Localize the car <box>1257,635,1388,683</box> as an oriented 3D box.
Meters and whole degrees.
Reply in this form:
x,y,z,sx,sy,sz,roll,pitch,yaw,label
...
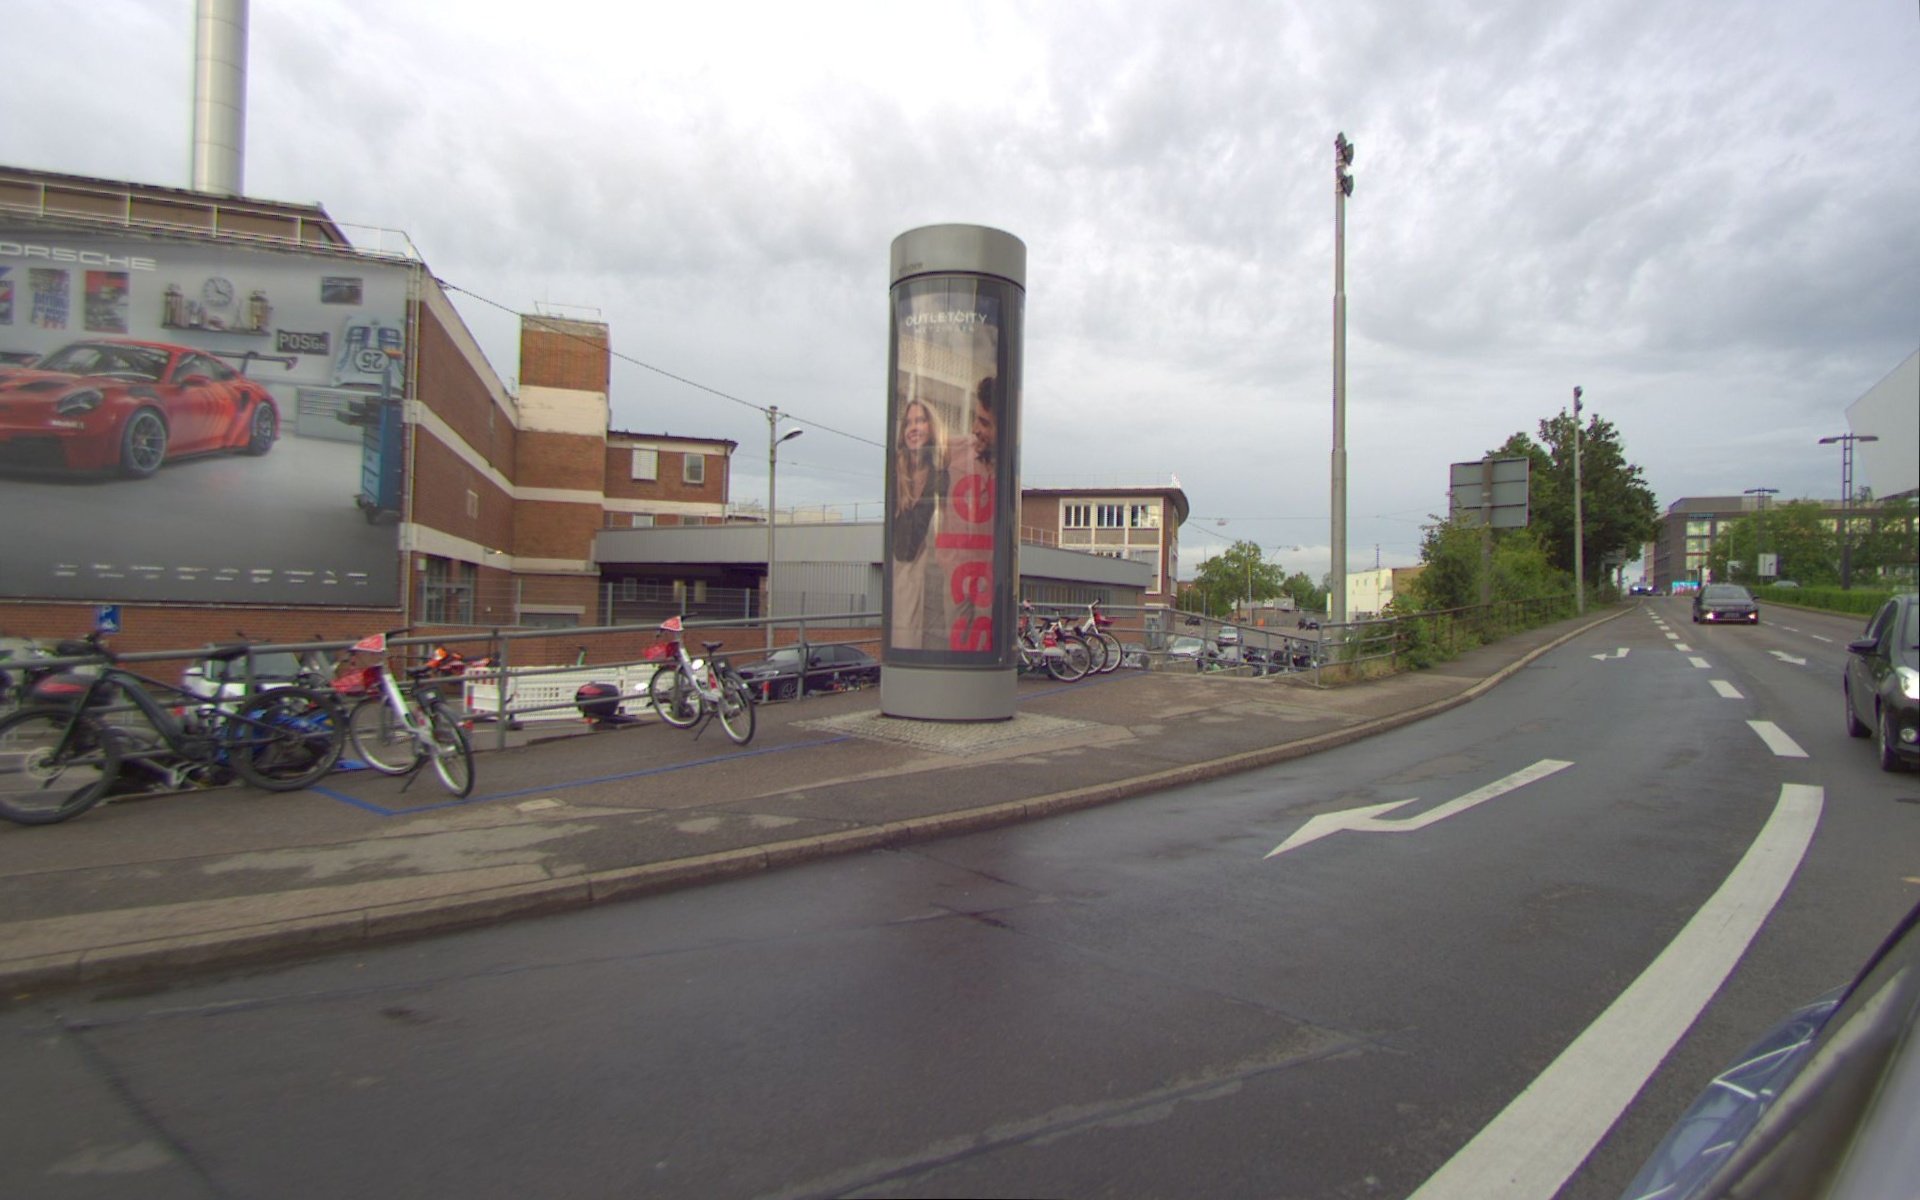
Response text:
x,y,z,sx,sy,sz,roll,pitch,yaw,label
12.574,2.012,35.300,1.690,1.444,3.995,1,-1,-39,car

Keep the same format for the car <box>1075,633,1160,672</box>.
x,y,z,sx,sy,sz,roll,pitch,yaw,label
6.571,2.137,41.909,1.711,1.422,4.216,-1,-1,38,car

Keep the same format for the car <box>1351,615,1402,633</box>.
x,y,z,sx,sy,sz,roll,pitch,yaw,label
35.384,2.028,86.080,3.952,1.444,1.708,0,-1,22,car

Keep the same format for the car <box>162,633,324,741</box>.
x,y,z,sx,sy,sz,roll,pitch,yaw,label
-12.033,1.344,16.889,3.987,1.508,1.543,-1,-1,45,car

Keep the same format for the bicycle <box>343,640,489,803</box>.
x,y,z,sx,sy,sz,roll,pitch,yaw,label
-3.956,0.815,7.298,1.740,0.973,0.415,0,1,44,bicycle

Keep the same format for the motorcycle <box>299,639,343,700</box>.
x,y,z,sx,sy,sz,roll,pitch,yaw,label
-13.464,1.431,21.297,0.574,1.166,1.719,-2,0,-39,motorcycle

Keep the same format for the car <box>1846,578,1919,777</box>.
x,y,z,sx,sy,sz,roll,pitch,yaw,label
9.173,0.563,8.940,1.685,1.526,3.958,-1,1,37,car

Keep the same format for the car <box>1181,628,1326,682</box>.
x,y,z,sx,sy,sz,roll,pitch,yaw,label
8.810,1.595,30.648,1.690,1.444,3.995,1,-1,-39,car

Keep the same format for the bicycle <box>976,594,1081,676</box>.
x,y,z,sx,sy,sz,roll,pitch,yaw,label
0.952,0.477,14.115,1.436,1.087,0.443,1,2,5,bicycle

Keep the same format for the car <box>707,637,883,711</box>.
x,y,z,sx,sy,sz,roll,pitch,yaw,label
-4.082,1.787,25.669,1.877,1.571,4.451,0,-1,35,car

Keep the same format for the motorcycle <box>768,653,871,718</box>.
x,y,z,sx,sy,sz,roll,pitch,yaw,label
-2.180,1.309,15.674,1.601,0.933,0.477,-1,0,29,motorcycle

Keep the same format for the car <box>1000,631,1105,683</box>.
x,y,z,sx,sy,sz,roll,pitch,yaw,label
3.459,2.025,37.056,1.774,1.688,4.443,-1,-1,37,car

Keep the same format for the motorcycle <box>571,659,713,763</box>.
x,y,z,sx,sy,sz,roll,pitch,yaw,label
-3.329,1.134,10.706,0.400,0.901,1.523,0,1,33,motorcycle

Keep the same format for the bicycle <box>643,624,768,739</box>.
x,y,z,sx,sy,sz,roll,pitch,yaw,label
-2.387,0.716,9.374,0.414,0.933,1.613,0,0,-42,bicycle

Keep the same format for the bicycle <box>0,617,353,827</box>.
x,y,z,sx,sy,sz,roll,pitch,yaw,label
-5.321,0.753,6.891,0.399,1.189,1.983,0,1,44,bicycle

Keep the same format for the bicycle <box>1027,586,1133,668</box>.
x,y,z,sx,sy,sz,roll,pitch,yaw,label
1.821,0.396,15.360,1.525,1.169,0.448,1,2,19,bicycle

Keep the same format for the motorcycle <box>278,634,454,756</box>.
x,y,z,sx,sy,sz,roll,pitch,yaw,label
-5.124,0.786,8.786,0.432,0.901,1.248,0,1,37,motorcycle

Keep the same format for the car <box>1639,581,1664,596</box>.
x,y,z,sx,sy,sz,roll,pitch,yaw,label
74.745,-1.198,109.423,1.803,1.457,4.256,1,-1,29,car

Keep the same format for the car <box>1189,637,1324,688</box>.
x,y,z,sx,sy,sz,roll,pitch,yaw,label
9.648,2.009,33.139,1.690,1.444,3.995,1,-1,-39,car

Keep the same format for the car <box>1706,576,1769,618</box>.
x,y,z,sx,sy,sz,roll,pitch,yaw,label
29.179,-0.136,38.074,1.739,1.493,4.016,-1,0,36,car

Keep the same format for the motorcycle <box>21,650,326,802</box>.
x,y,z,sx,sy,sz,roll,pitch,yaw,label
-5.716,0.880,7.486,1.710,0.906,0.548,-2,1,-32,motorcycle

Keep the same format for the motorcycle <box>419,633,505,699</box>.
x,y,z,sx,sy,sz,roll,pitch,yaw,label
-11.129,1.454,22.657,0.520,1.350,1.649,-2,0,35,motorcycle

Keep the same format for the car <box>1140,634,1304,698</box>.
x,y,z,sx,sy,sz,roll,pitch,yaw,label
6.860,1.684,26.817,1.690,1.444,3.995,1,-1,-39,car

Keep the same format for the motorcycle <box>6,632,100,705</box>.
x,y,z,sx,sy,sz,roll,pitch,yaw,label
-17.081,1.258,19.101,0.533,1.254,1.811,1,0,-15,motorcycle

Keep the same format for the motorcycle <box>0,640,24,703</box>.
x,y,z,sx,sy,sz,roll,pitch,yaw,label
-17.881,1.346,18.343,0.467,1.134,1.813,-2,0,-13,motorcycle

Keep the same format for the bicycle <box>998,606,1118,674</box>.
x,y,z,sx,sy,sz,roll,pitch,yaw,label
1.393,0.569,14.593,1.672,0.933,0.486,0,1,0,bicycle

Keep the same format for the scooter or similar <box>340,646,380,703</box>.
x,y,z,sx,sy,sz,roll,pitch,yaw,label
-12.896,1.584,21.737,0.495,1.110,1.637,-2,0,-39,scooter or similar

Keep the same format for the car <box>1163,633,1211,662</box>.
x,y,z,sx,sy,sz,roll,pitch,yaw,label
12.140,2.507,54.037,1.715,1.406,3.966,0,-1,25,car

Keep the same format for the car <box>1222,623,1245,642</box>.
x,y,z,sx,sy,sz,roll,pitch,yaw,label
21.657,2.551,80.174,1.696,1.444,3.981,0,-1,15,car
